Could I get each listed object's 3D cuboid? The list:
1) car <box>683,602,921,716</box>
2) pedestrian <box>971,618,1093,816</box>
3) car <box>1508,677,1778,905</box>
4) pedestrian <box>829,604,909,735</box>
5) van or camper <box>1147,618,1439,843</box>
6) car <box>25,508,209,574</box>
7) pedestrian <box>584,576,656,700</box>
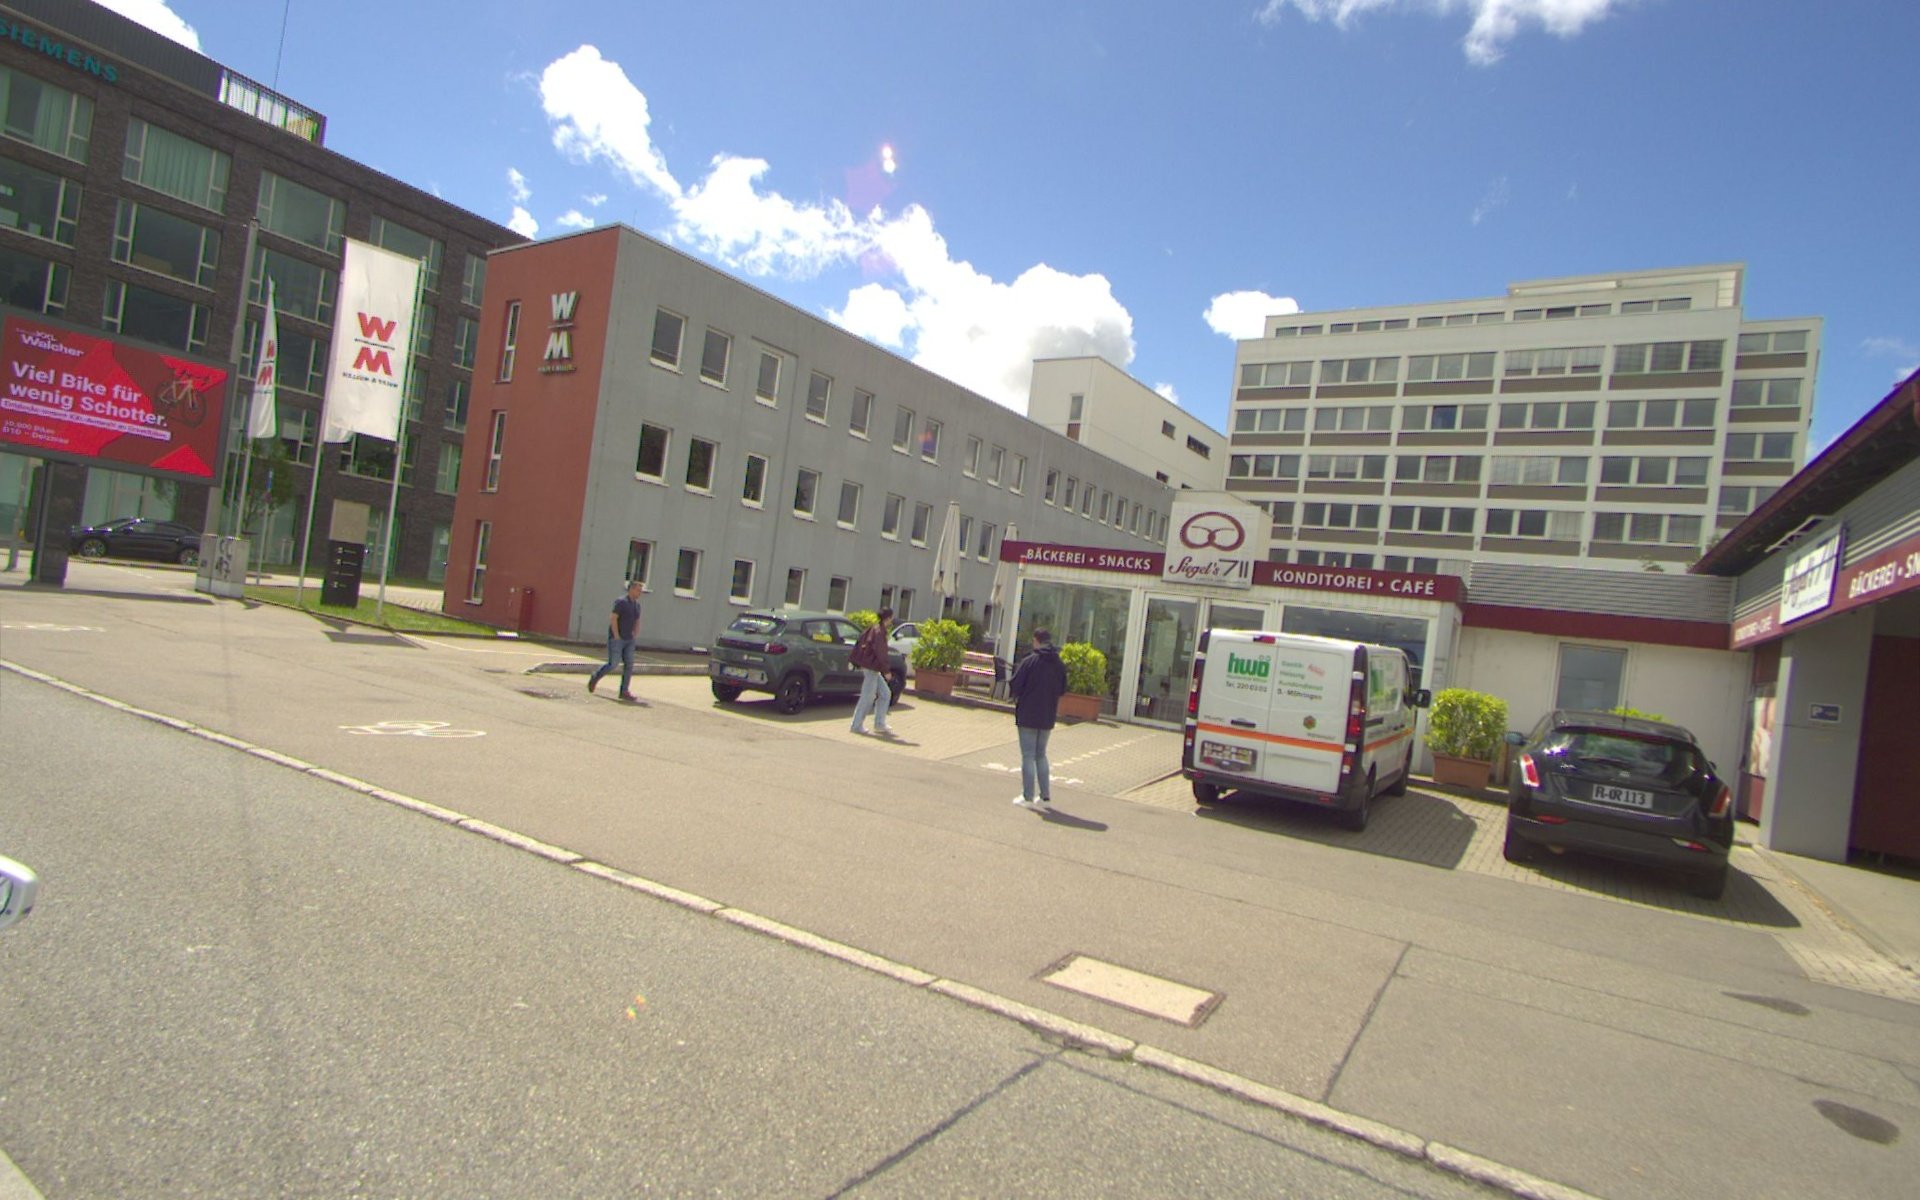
[{"bbox_3d":[-2.450,0.895,16.344,1.734,1.505,3.665,5,2,33],"label":"car"},{"bbox_3d":[0.697,1.098,9.612,0.727,1.727,0.713,6,-1,32],"label":"pedestrian"},{"bbox_3d":[6.629,1.706,10.150,1.804,1.505,3.453,5,2,29],"label":"car"},{"bbox_3d":[-1.270,0.971,14.074,0.743,1.727,0.566,8,-1,-32],"label":"pedestrian"},{"bbox_3d":[4.272,1.374,12.262,2.176,1.982,4.900,5,0,32],"label":"van or camper"},{"bbox_3d":[-30.471,-2.100,36.517,1.966,1.638,4.649,6,-2,30],"label":"car"},{"bbox_3d":[-5.045,0.559,14.920,0.707,1.727,0.625,8,-1,-32],"label":"pedestrian"}]
